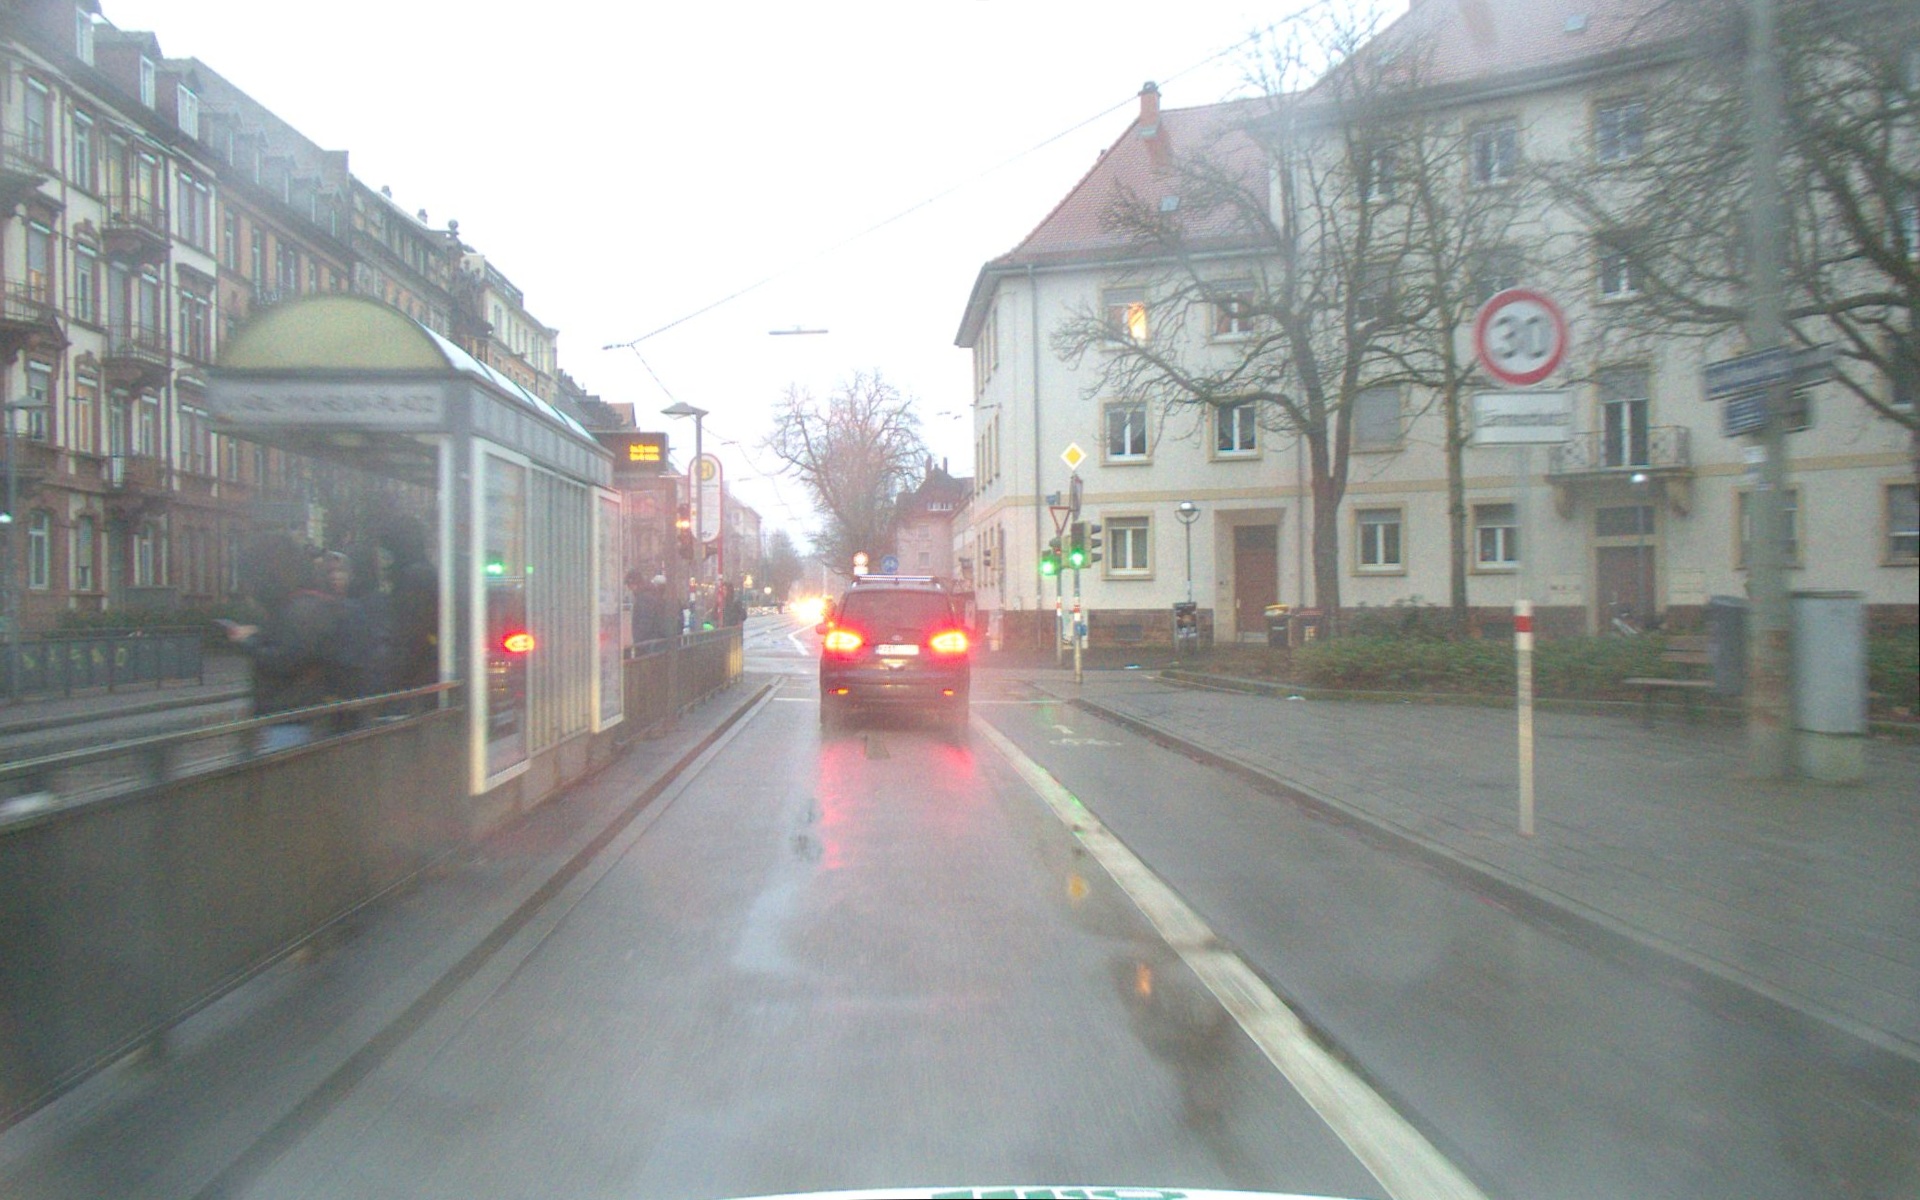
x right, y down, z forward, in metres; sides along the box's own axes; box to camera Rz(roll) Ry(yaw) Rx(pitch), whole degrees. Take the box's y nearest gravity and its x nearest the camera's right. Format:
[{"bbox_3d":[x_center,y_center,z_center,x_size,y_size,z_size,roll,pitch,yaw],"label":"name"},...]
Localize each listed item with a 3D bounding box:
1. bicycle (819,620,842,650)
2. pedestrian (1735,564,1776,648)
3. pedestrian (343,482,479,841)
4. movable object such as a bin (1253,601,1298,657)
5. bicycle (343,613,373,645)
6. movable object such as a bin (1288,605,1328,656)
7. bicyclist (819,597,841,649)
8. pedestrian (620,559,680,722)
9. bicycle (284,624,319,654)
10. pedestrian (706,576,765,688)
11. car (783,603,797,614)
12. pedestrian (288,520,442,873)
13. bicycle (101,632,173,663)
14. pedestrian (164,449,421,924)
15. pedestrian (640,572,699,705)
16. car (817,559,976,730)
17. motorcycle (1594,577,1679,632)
[{"bbox_3d":[-4.472,1.203,57.023,0.717,1.024,1.763,0,0,-2],"label":"bicycle"},{"bbox_3d":[16.083,0.118,33.430,0.698,1.689,0.687,-1,0,24],"label":"pedestrian"},{"bbox_3d":[-3.203,0.353,9.688,0.546,2.022,0.570,2,-1,-3],"label":"pedestrian"},{"bbox_3d":[7.295,0.667,38.248,0.838,1.273,0.519,2,-1,39],"label":"movable object such as a bin"},{"bbox_3d":[-20.134,0.959,55.320,0.408,1.024,1.848,0,0,-2],"label":"bicycle"},{"bbox_3d":[7.935,0.699,37.742,0.688,1.139,0.536,2,-1,39],"label":"movable object such as a bin"},{"bbox_3d":[-4.468,0.798,56.996,0.716,1.767,0.765,0,0,-3],"label":"bicyclist"},{"bbox_3d":[-3.584,0.464,19.148,0.546,1.839,0.570,2,-1,-3],"label":"pedestrian"},{"bbox_3d":[-20.096,1.174,50.484,0.391,0.877,1.848,-1,0,-2],"label":"bicycle"},{"bbox_3d":[-3.993,0.562,29.452,0.675,1.951,0.714,2,-1,38],"label":"pedestrian"},{"bbox_3d":[-26.534,1.366,258.180,1.885,1.750,3.997,-1,0,-4],"label":"car"},{"bbox_3d":[-3.110,0.490,8.682,0.546,1.771,0.570,2,-1,-3],"label":"pedestrian"},{"bbox_3d":[-22.055,1.271,44.355,0.392,0.772,1.806,-1,0,32],"label":"bicycle"},{"bbox_3d":[-2.932,0.371,7.323,0.836,1.990,0.570,2,-1,-3],"label":"pedestrian"},{"bbox_3d":[-3.902,0.517,22.227,0.644,1.738,0.570,2,-1,-3],"label":"pedestrian"},{"bbox_3d":[-0.797,0.518,21.094,1.766,1.903,4.016,2,0,-2],"label":"car"},{"bbox_3d":[14.488,0.095,35.438,0.564,1.124,1.580,-4,2,-39],"label":"motorcycle"}]
